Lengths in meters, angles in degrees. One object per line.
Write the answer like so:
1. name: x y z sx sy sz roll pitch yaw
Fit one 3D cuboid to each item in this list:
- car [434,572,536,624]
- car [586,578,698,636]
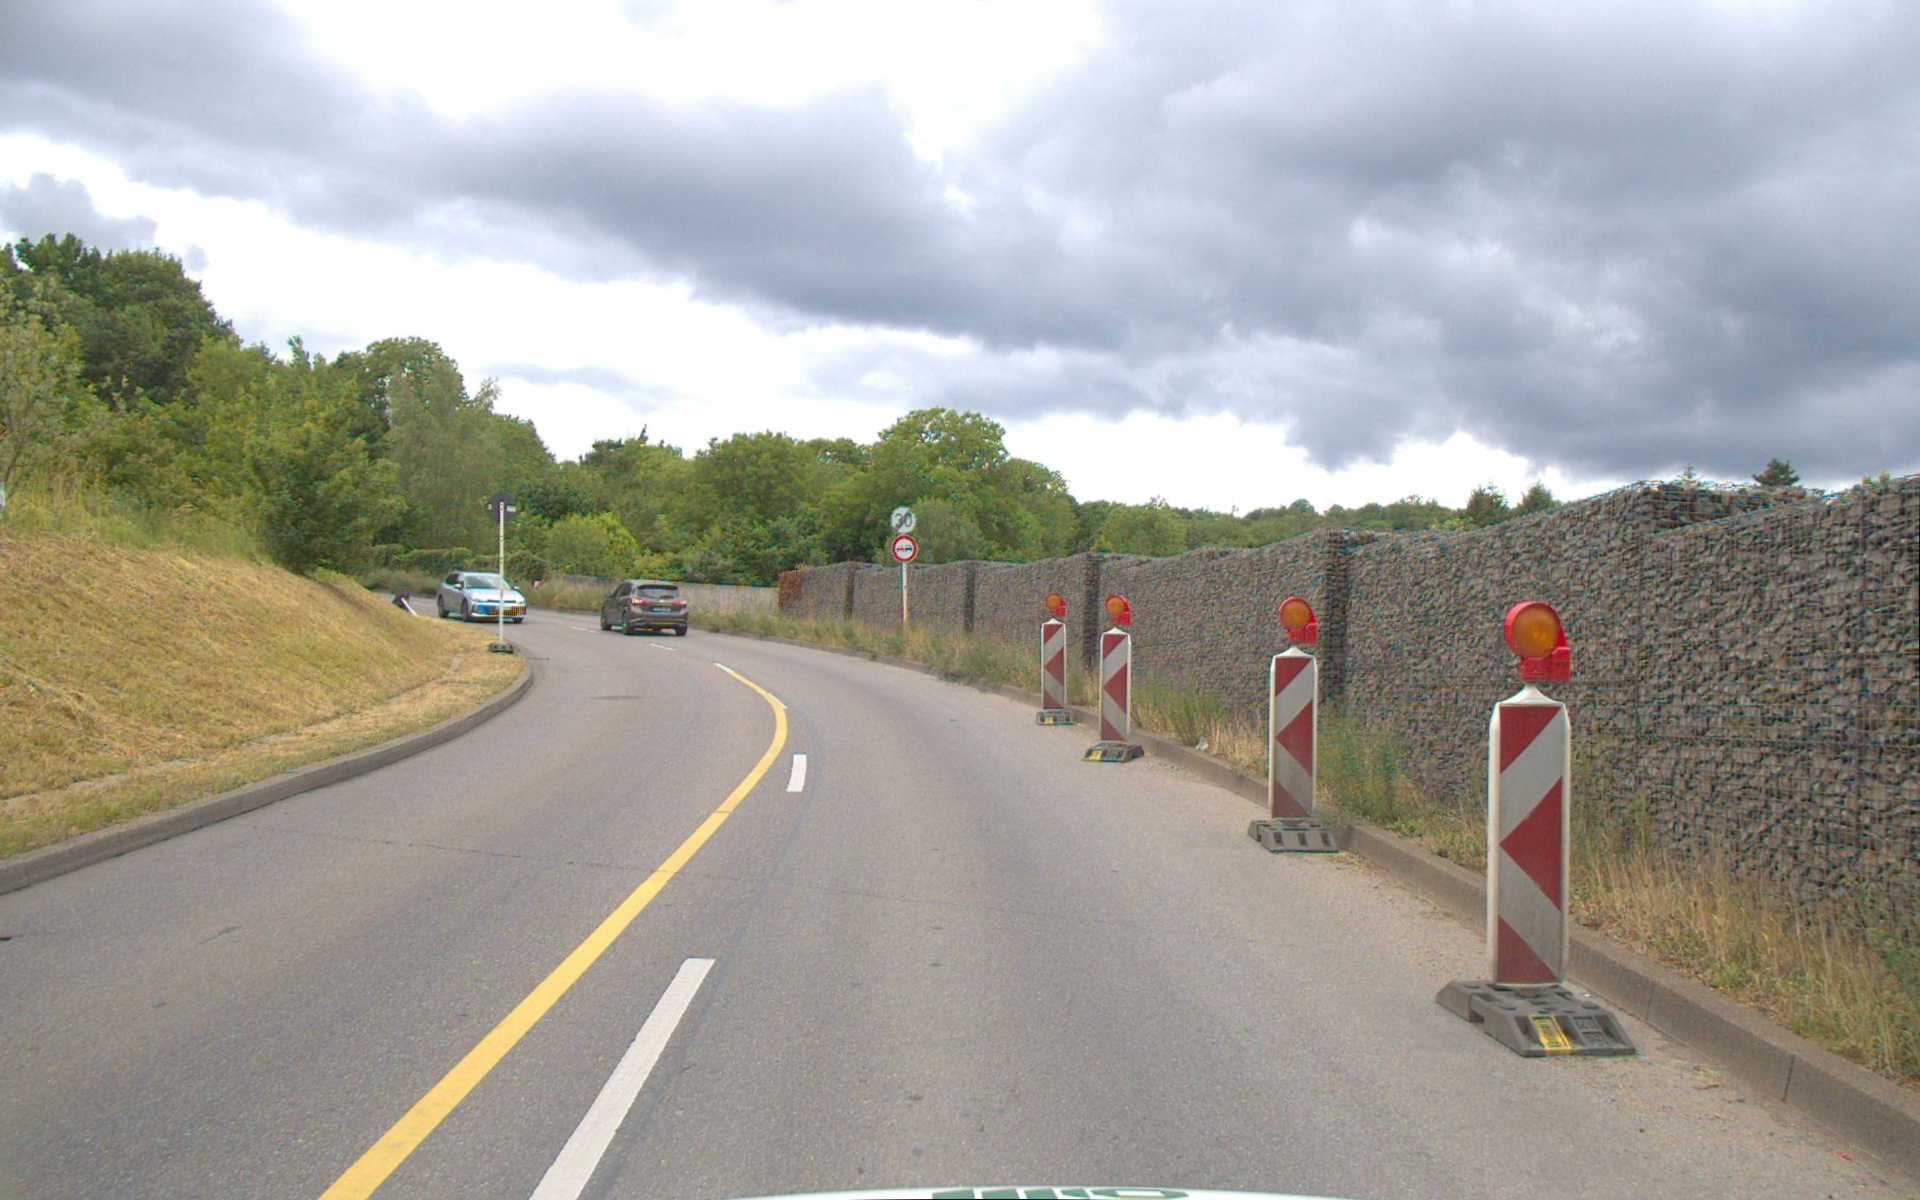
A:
1. car: -14.984 -0.115 52.024 1.864 1.503 4.550 0 2 -33
2. car: -9.143 0.174 47.328 1.822 1.509 3.955 0 2 -33
